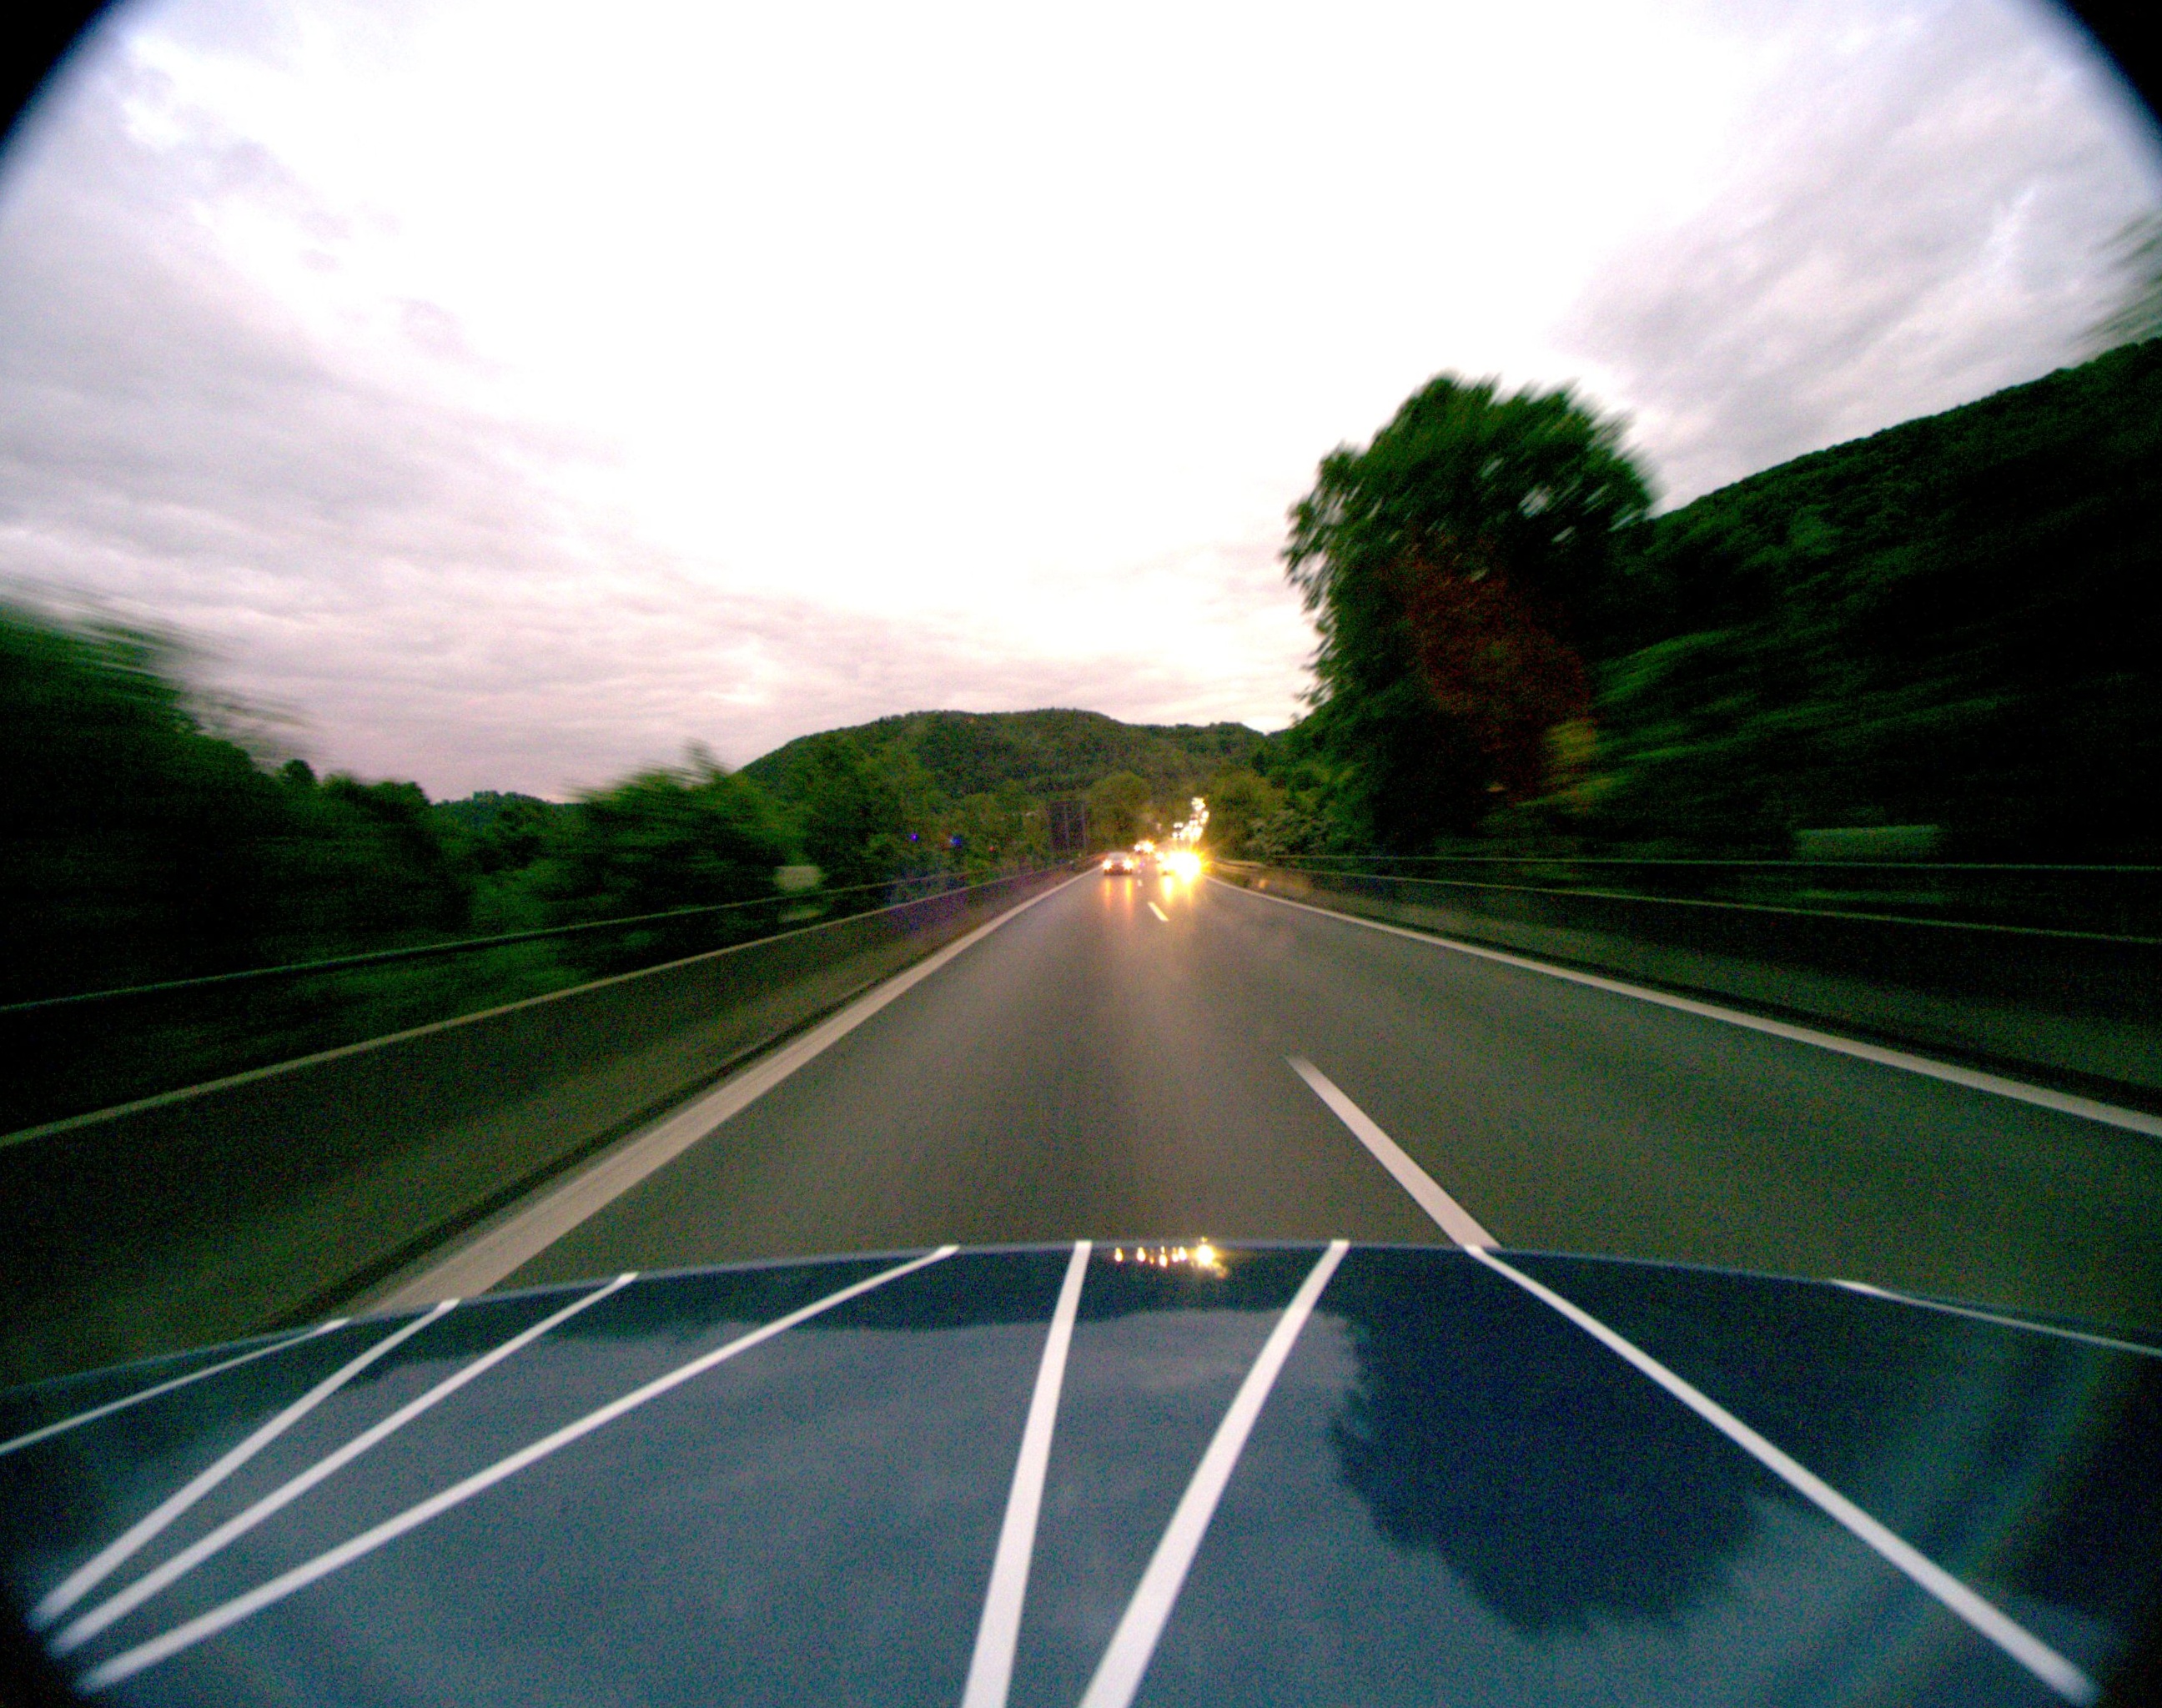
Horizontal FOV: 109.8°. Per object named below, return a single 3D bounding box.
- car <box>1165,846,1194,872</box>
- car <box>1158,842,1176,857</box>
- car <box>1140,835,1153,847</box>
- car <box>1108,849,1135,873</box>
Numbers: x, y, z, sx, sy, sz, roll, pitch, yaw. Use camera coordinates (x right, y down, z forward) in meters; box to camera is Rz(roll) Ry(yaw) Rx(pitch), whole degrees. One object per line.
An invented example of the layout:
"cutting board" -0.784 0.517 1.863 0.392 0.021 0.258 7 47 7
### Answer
"car" 6.229 0.290 48.310 1.689 1.460 3.768 -2 1 6
"car" 8.768 -0.457 77.964 1.689 1.425 3.669 -3 1 5
"car" 9.471 -1.869 109.473 1.737 1.641 3.669 -2 1 6
"car" 2.694 0.424 50.177 1.690 1.443 3.669 -3 1 4
